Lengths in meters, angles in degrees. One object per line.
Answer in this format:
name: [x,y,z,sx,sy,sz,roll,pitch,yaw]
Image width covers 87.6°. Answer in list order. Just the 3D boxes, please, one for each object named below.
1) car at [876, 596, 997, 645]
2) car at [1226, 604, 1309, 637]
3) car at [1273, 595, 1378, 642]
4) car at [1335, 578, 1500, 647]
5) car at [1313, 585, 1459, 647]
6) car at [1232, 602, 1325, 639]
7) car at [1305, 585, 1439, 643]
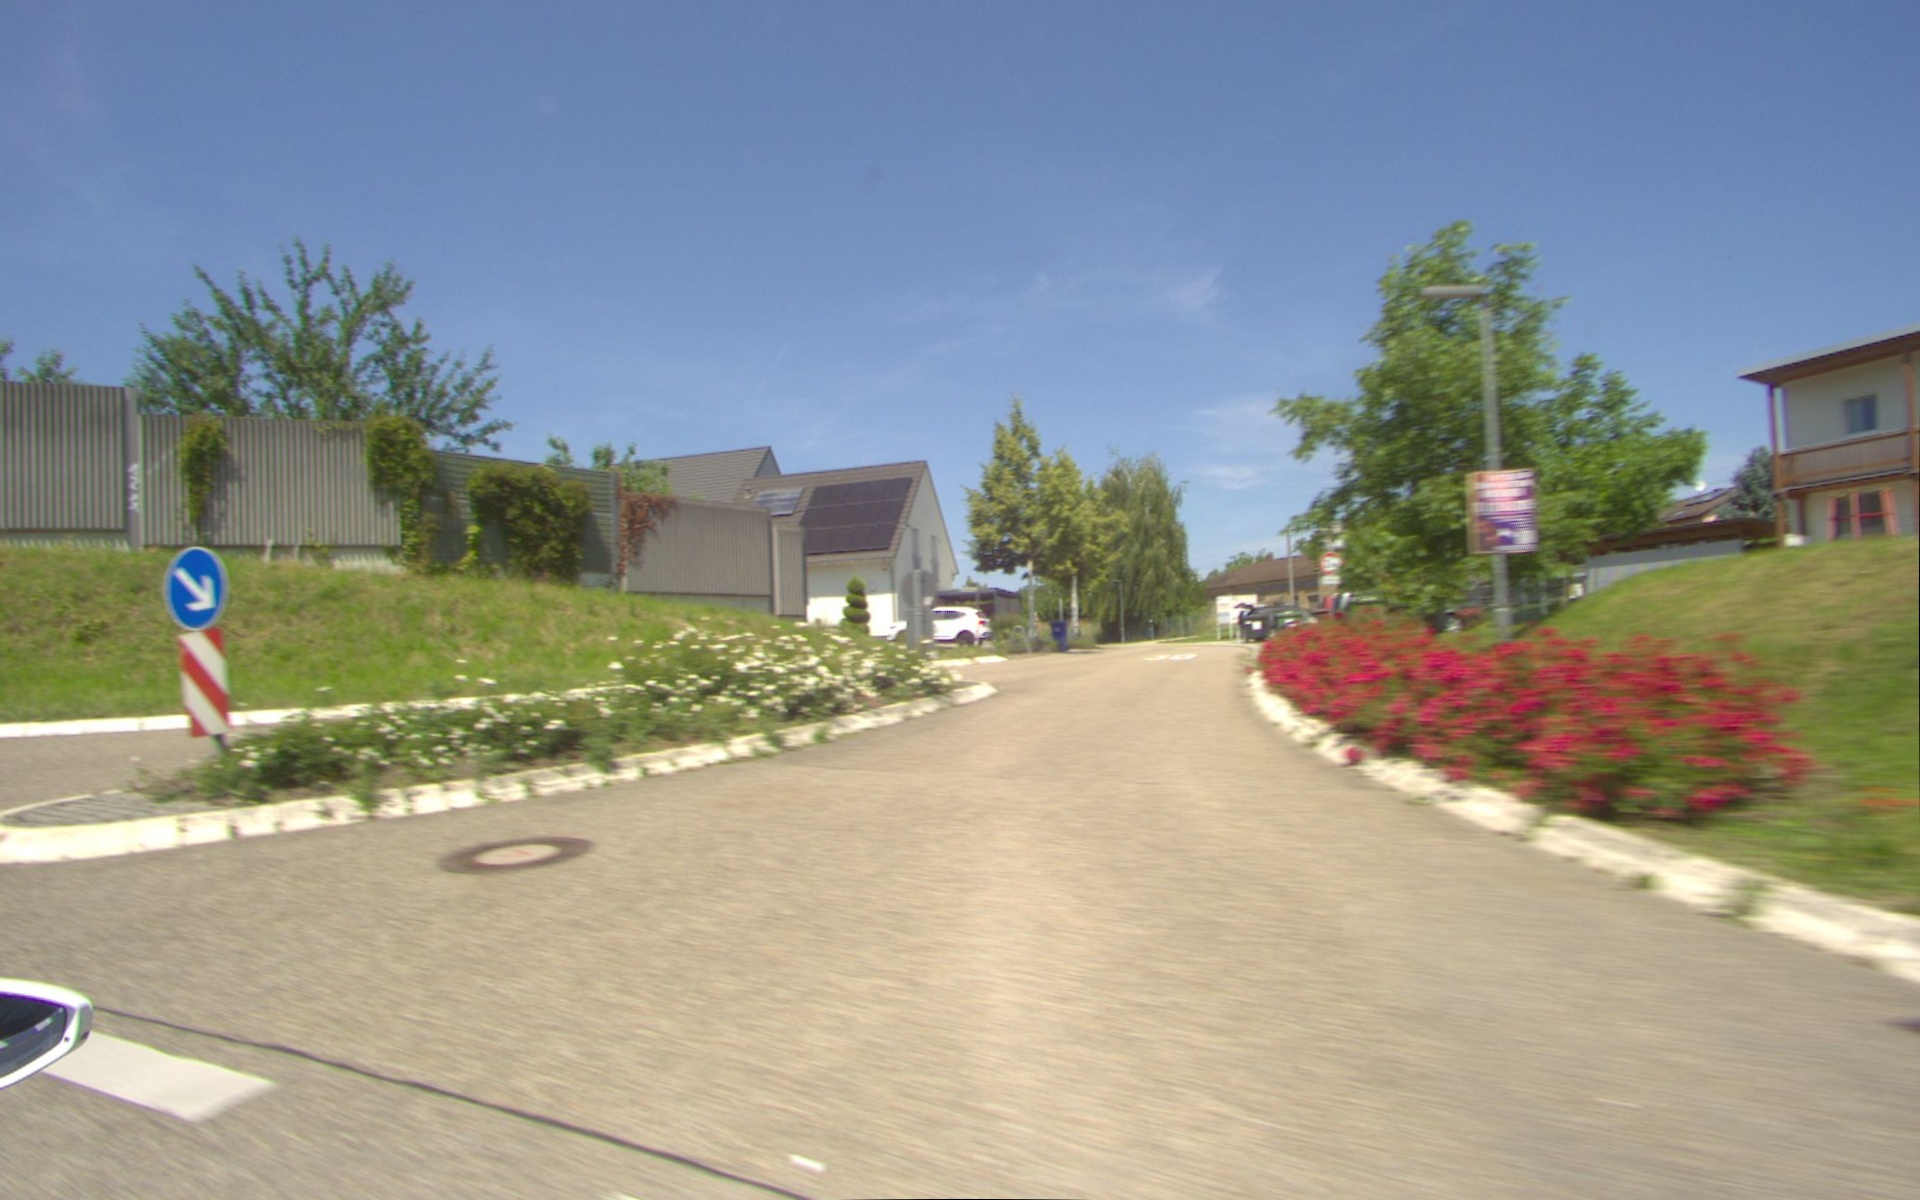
car: [-0.948,0.860,41.086,4.519,1.674,2.001,2,-4,15]
car: [16.423,1.102,53.643,3.923,1.599,1.872,-2,-2,8]
car: [15.281,0.809,42.042,3.927,1.773,1.870,-2,-2,15]
car: [12.878,0.391,28.454,3.927,1.773,1.870,-2,-2,15]
car: [13.303,0.540,31.535,3.927,1.773,1.870,-2,-2,15]
car: [15.125,1.009,47.754,3.923,1.599,1.872,-2,-2,8]
car: [13.911,0.514,34.016,3.927,1.773,1.870,-2,-2,15]
